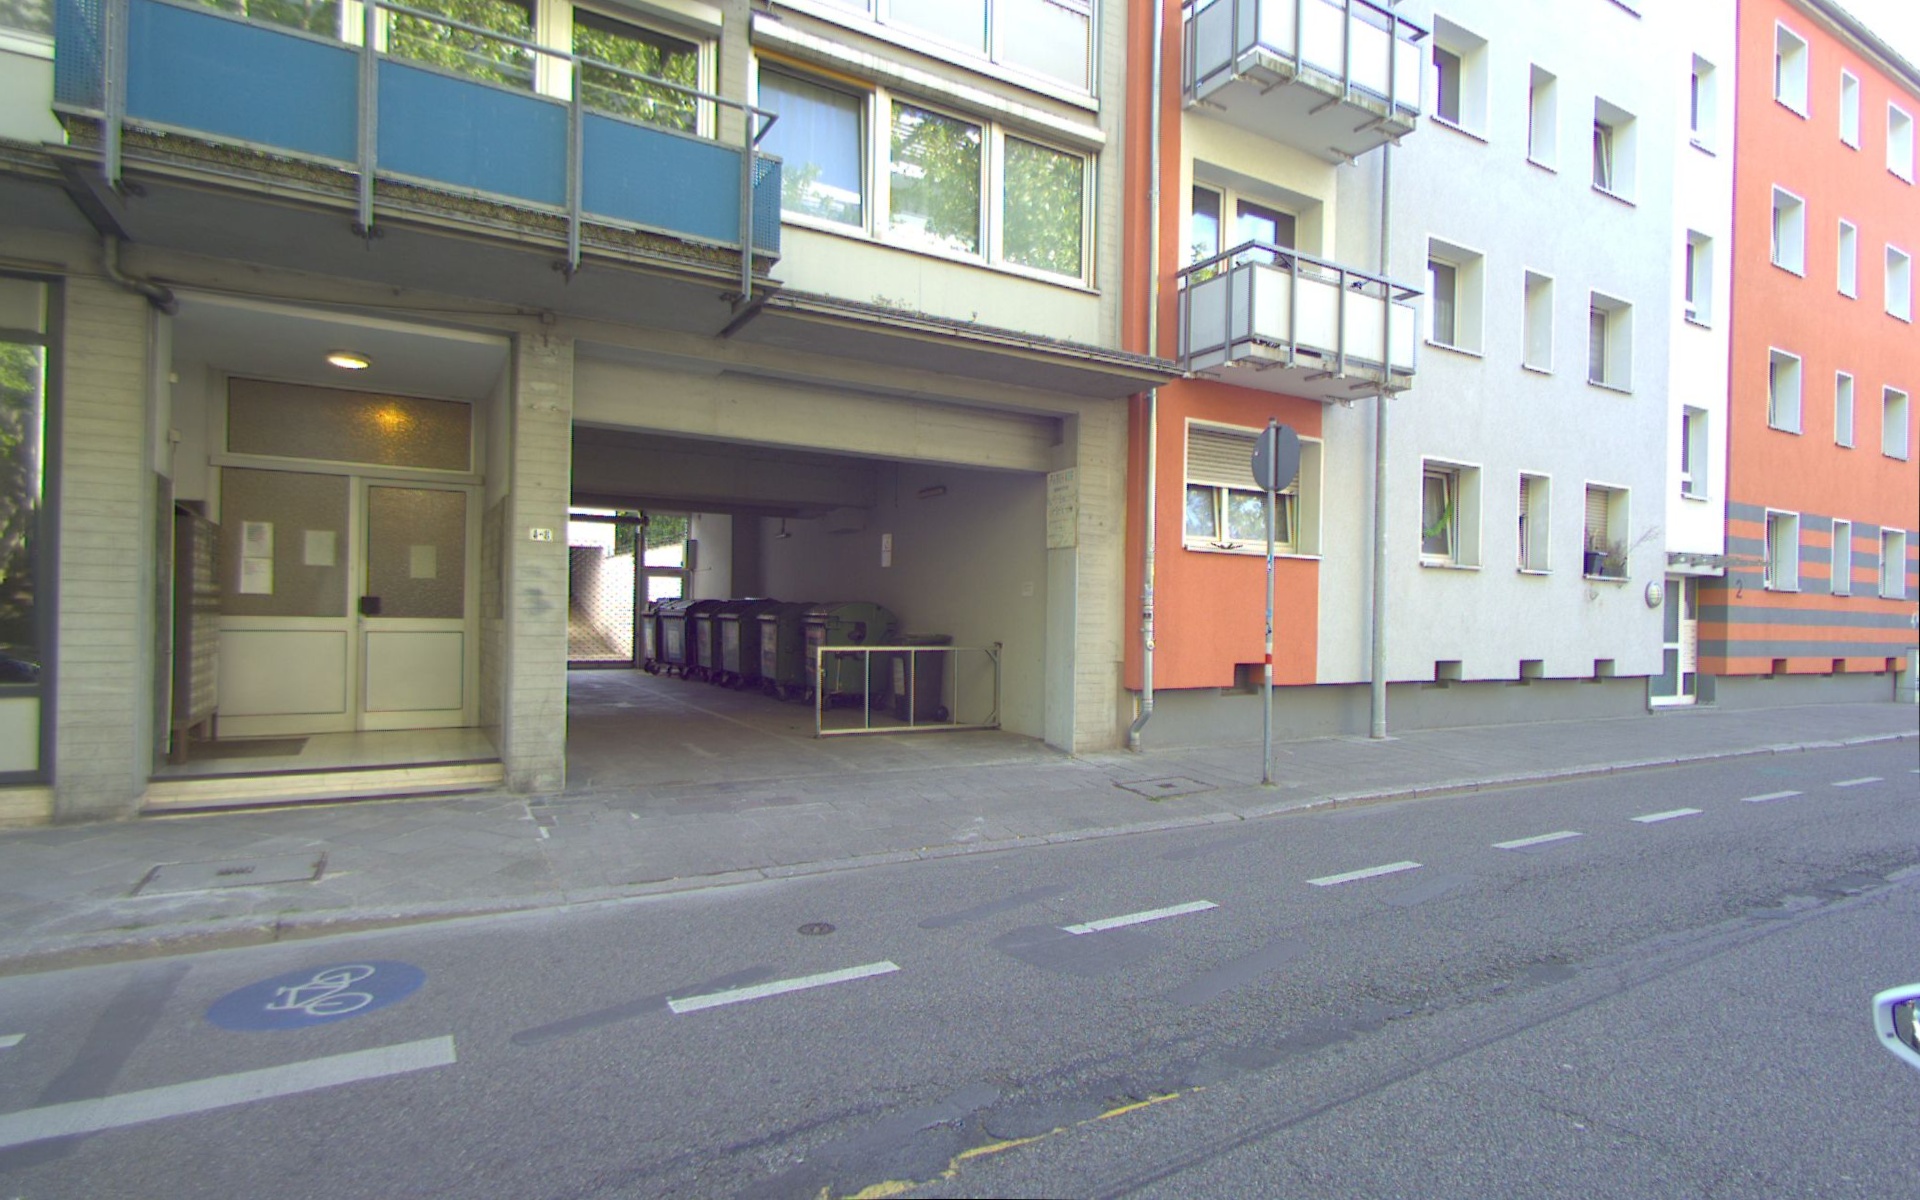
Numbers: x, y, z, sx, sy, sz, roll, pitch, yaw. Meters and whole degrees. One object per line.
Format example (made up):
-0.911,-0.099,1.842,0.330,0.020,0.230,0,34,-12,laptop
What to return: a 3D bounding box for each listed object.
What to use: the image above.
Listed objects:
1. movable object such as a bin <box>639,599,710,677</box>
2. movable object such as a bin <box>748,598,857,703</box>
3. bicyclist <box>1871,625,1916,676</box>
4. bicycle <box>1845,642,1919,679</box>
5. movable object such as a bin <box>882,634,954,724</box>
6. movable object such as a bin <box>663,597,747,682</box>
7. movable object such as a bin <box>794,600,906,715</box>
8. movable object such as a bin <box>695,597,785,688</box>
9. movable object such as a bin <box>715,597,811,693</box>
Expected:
-5.675,0.736,19.951,1.128,1.484,1.129,2,0,-28,movable object such as a bin
-2.391,0.739,15.168,1.264,1.493,1.265,2,-1,-28,movable object such as a bin
29.511,1.585,31.743,0.816,1.520,0.941,2,0,-42,bicyclist
29.394,1.902,31.839,0.701,1.076,1.939,2,0,-41,bicycle
-0.526,0.963,12.462,0.694,1.061,0.567,2,0,-28,movable object such as a bin
-4.756,0.725,18.695,1.264,1.506,1.155,2,0,-28,movable object such as a bin
-1.525,0.759,13.814,1.128,1.484,1.255,2,0,-28,movable object such as a bin
-3.891,0.733,17.752,1.264,1.515,1.155,2,0,-28,movable object such as a bin
-3.288,0.731,16.704,1.264,1.506,1.155,2,0,-28,movable object such as a bin
